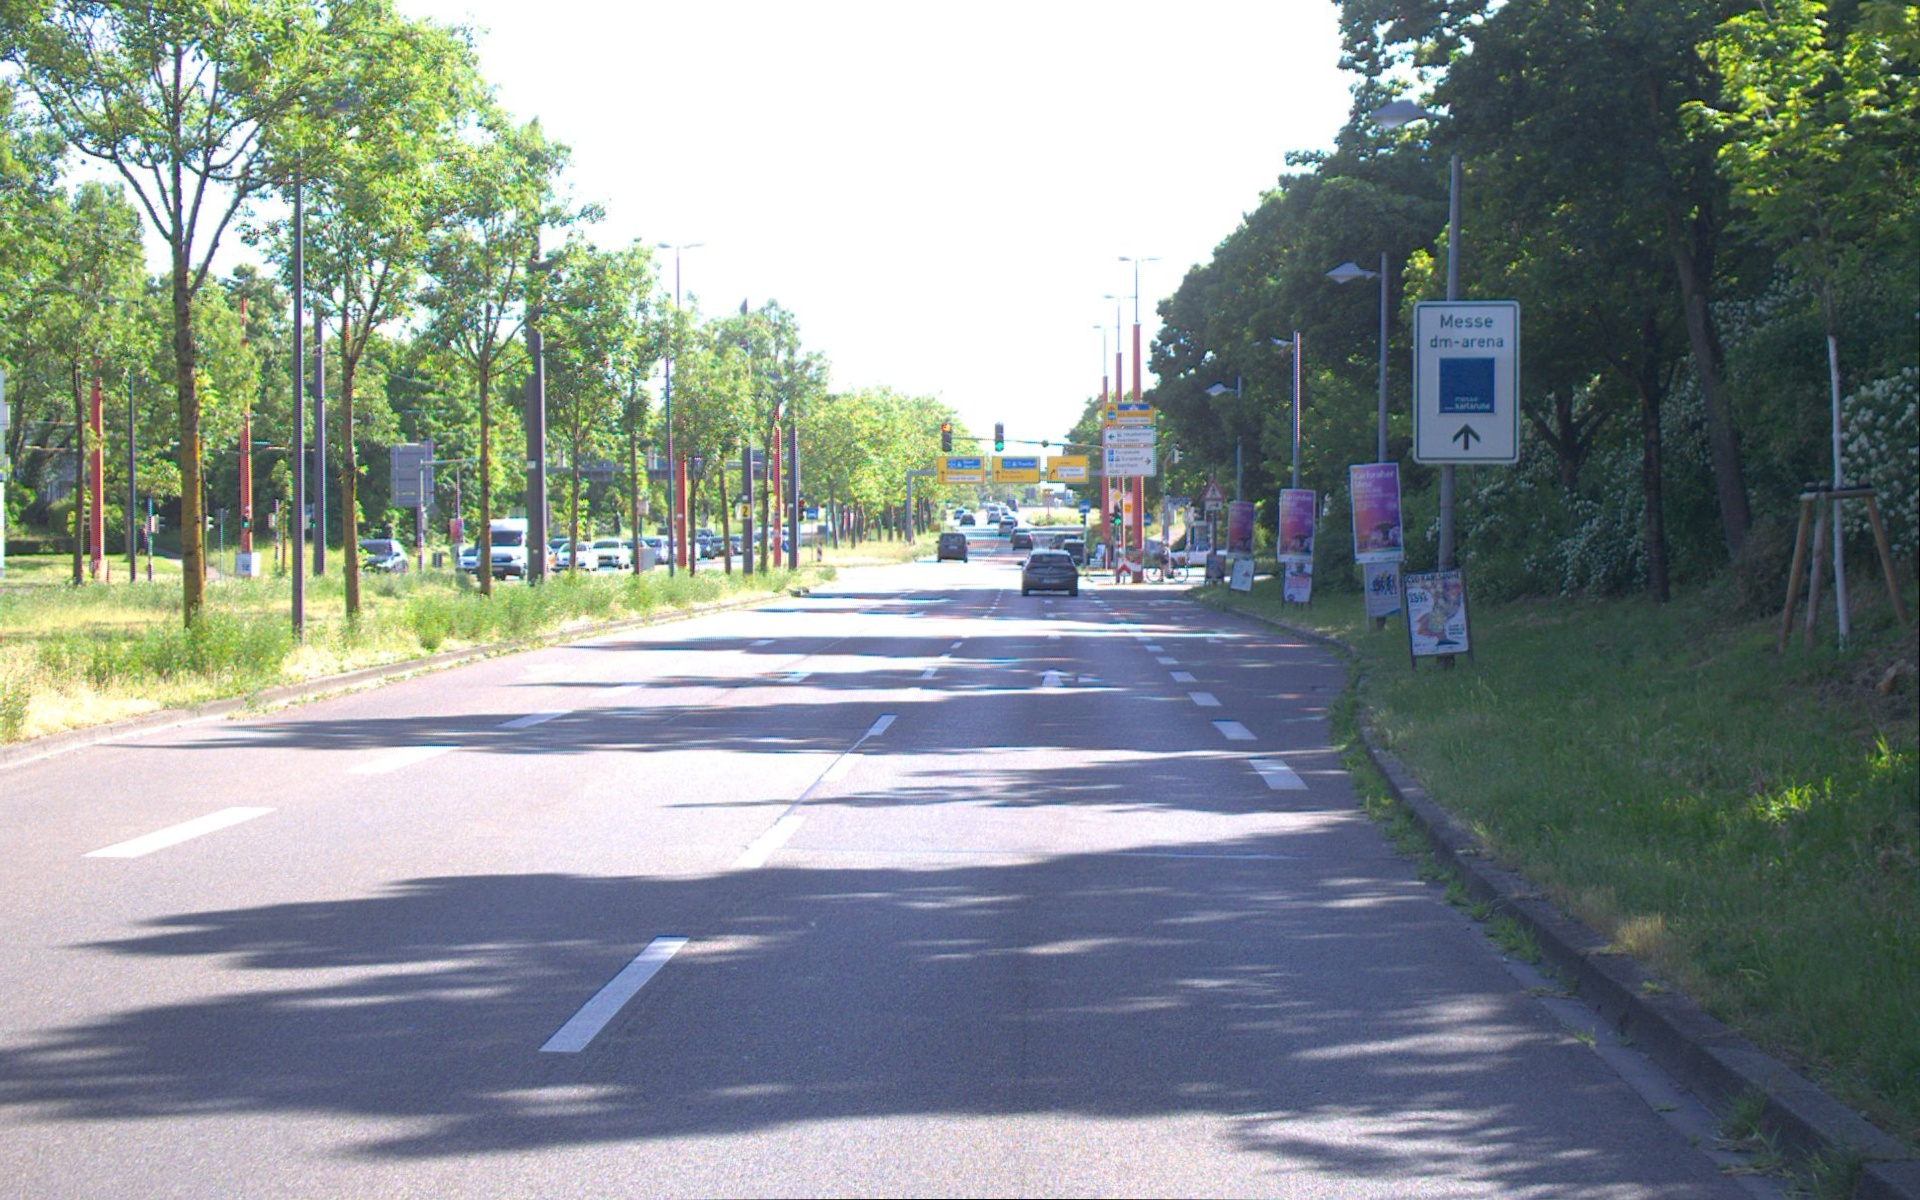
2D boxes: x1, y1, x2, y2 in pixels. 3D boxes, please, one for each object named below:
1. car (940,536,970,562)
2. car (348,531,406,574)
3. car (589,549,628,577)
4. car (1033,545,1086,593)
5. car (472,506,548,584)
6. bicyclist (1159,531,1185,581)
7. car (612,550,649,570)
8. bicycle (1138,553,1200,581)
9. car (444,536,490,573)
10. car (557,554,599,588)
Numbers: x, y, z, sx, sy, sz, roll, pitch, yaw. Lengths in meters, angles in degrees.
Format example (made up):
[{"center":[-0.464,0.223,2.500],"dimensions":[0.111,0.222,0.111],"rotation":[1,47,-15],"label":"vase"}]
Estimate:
[{"center":[-0.295,-3.057,204.721],"dimensions":[1.634,1.493,4.234],"rotation":[1,1,2],"label":"car"},{"center":[-23.038,-1.895,135.929],"dimensions":[1.631,1.675,4.192],"rotation":[0,1,-1],"label":"car"},{"center":[-18.493,-1.949,180.972],"dimensions":[1.631,1.440,4.192],"rotation":[0,1,-1],"label":"car"},{"center":[3.183,-1.007,109.801],"dimensions":[1.634,1.493,4.234],"rotation":[1,1,2],"label":"car"},{"center":[-19.121,-2.309,146.190],"dimensions":[2.465,3.228,6.135],"rotation":[1,0,-1],"label":"car"},{"center":[8.478,-1.763,137.454],"dimensions":[1.009,2.000,0.812],"rotation":[1,1,1],"label":"bicyclist"},{"center":[-18.158,-2.205,189.535],"dimensions":[1.631,1.107,4.192],"rotation":[0,1,-1],"label":"car"},{"center":[8.350,-1.321,137.463],"dimensions":[2.414,1.105,0.812],"rotation":[1,1,1],"label":"bicycle"},{"center":[-23.164,-2.152,161.600],"dimensions":[1.631,1.675,4.192],"rotation":[0,1,-1],"label":"car"},{"center":[-19.046,-1.458,171.564],"dimensions":[1.631,1.675,4.192],"rotation":[0,1,-1],"label":"car"}]
